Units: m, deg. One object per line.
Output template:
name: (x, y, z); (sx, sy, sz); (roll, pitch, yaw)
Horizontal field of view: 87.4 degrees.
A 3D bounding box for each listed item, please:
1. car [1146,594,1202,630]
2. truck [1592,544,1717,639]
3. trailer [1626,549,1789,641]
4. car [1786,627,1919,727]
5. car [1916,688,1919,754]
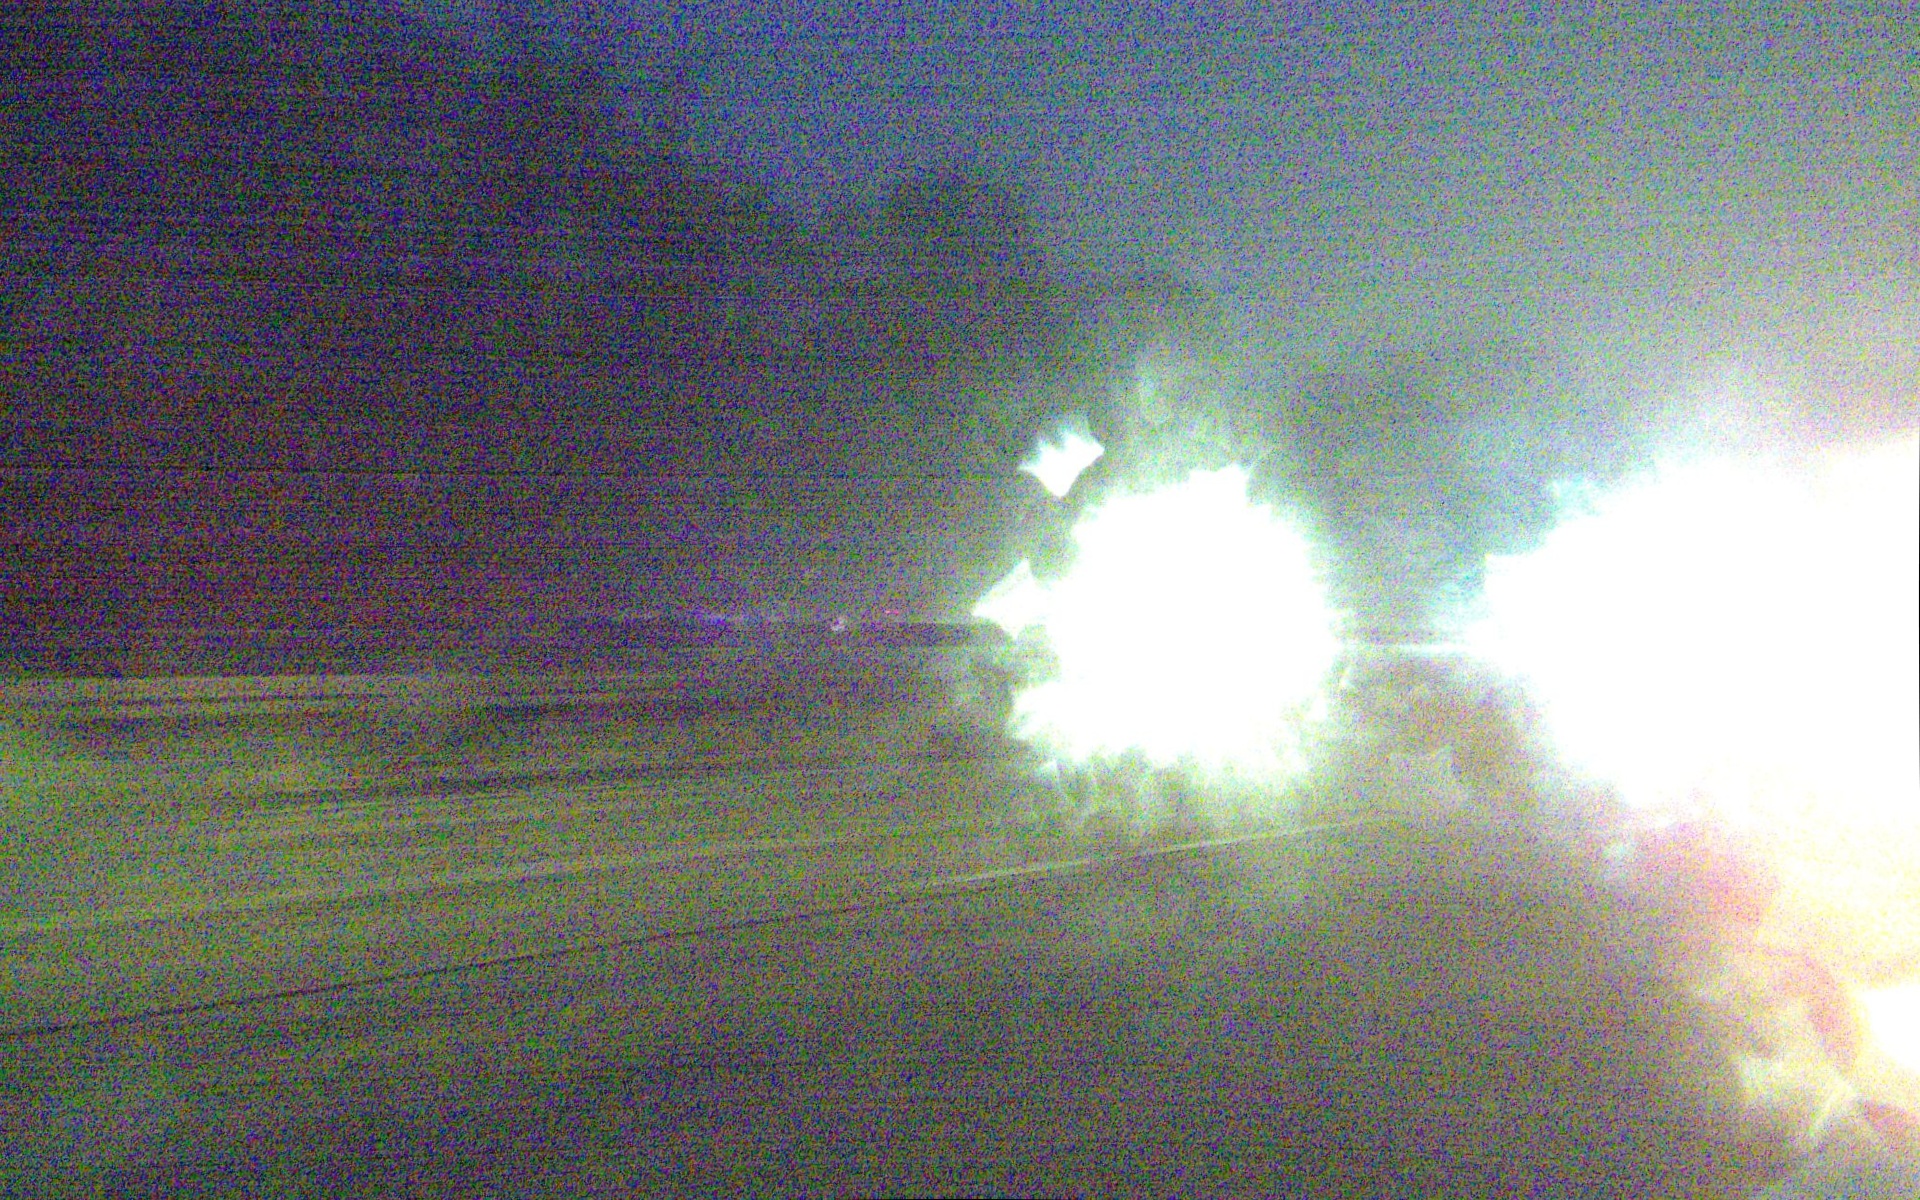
car: (11.110, 0.625, 51.969); (1.802, 1.736, 3.996); (2, 0, 26)
truck: (27.562, -0.294, 39.852); (4.596, 3.503, 2.586); (2, 0, -36)
trailer: (32.482, -0.094, 43.433); (10.346, 3.519, 2.591); (2, 0, -36)
car: (17.181, 1.331, 18.447); (4.863, 1.537, 1.757); (2, 0, -34)
car: (13.680, 1.248, 12.249); (4.004, 1.399, 1.951); (2, 1, -32)
